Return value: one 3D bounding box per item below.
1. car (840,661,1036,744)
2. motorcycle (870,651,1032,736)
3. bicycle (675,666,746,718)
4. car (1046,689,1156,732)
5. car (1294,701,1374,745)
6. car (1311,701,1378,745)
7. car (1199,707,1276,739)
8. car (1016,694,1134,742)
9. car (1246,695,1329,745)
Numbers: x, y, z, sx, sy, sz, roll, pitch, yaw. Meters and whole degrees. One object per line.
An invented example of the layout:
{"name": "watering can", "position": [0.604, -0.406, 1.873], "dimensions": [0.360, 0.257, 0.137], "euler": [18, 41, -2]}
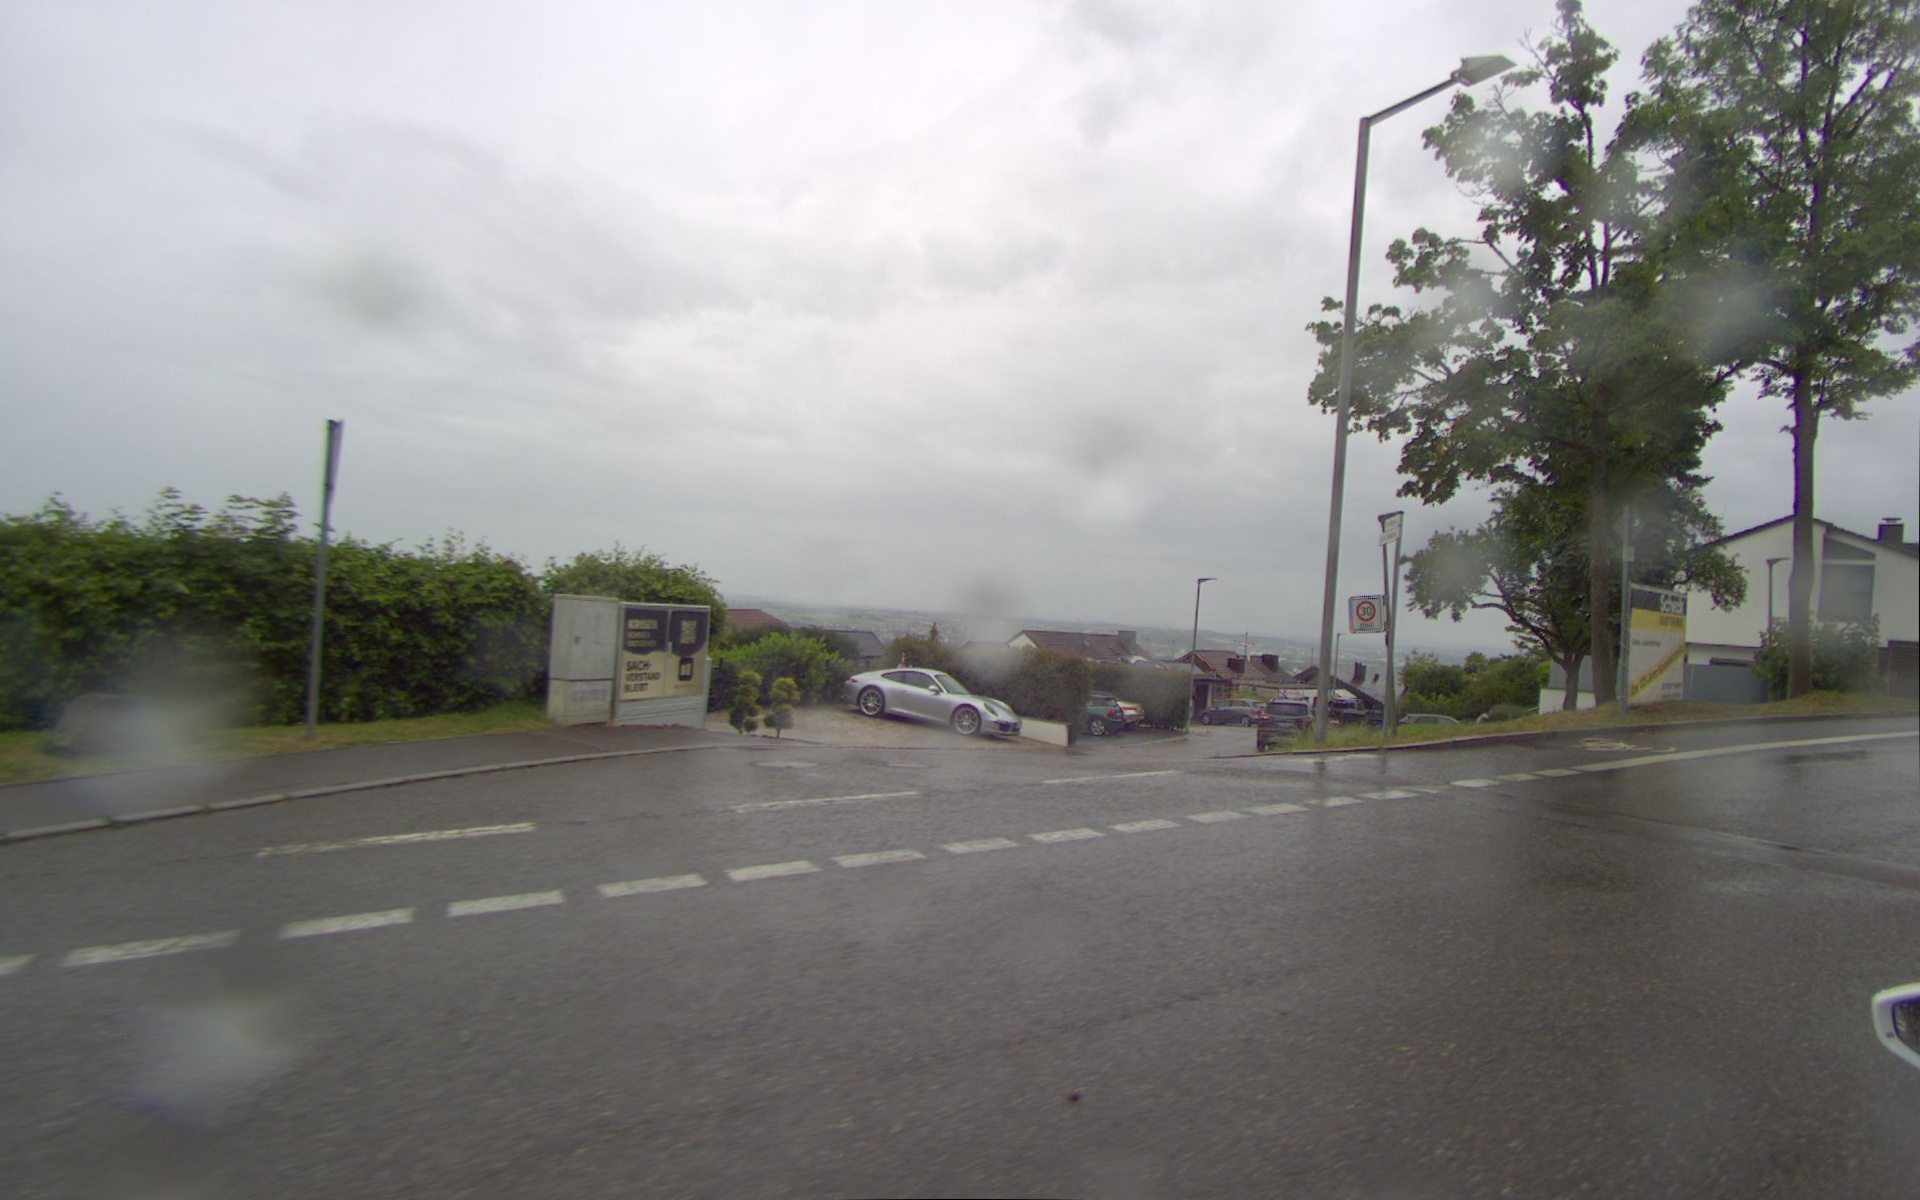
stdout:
{"name": "car", "position": [-0.506, 2.403, 23.760], "dimensions": [4.164, 1.268, 1.788], "euler": [7, -4, 20]}
{"name": "motorcycle", "position": [-0.247, 2.315, 25.462], "dimensions": [3.801, 1.282, 1.217], "euler": [10, 5, 22]}
{"name": "bicycle", "position": [-5.021, 1.842, 20.280], "dimensions": [0.421, 0.977, 1.669], "euler": [1, -3, 24]}
{"name": "car", "position": [5.602, 4.364, 39.904], "dimensions": [3.930, 1.375, 1.880], "euler": [-1, -1, 32]}
{"name": "car", "position": [13.486, 4.454, 36.088], "dimensions": [2.124, 1.367, 4.277], "euler": [0, -8, 28]}
{"name": "car", "position": [19.619, 6.272, 51.196], "dimensions": [1.971, 2.039, 3.983], "euler": [-2, -7, 41]}
{"name": "car", "position": [15.992, 7.122, 58.103], "dimensions": [1.787, 1.658, 3.960], "euler": [1, -7, -38]}
{"name": "car", "position": [4.226, 4.320, 37.125], "dimensions": [3.930, 1.435, 1.880], "euler": [-1, -1, 32]}
{"name": "car", "position": [10.537, 3.833, 32.127], "dimensions": [1.850, 1.434, 3.997], "euler": [0, -7, 28]}
